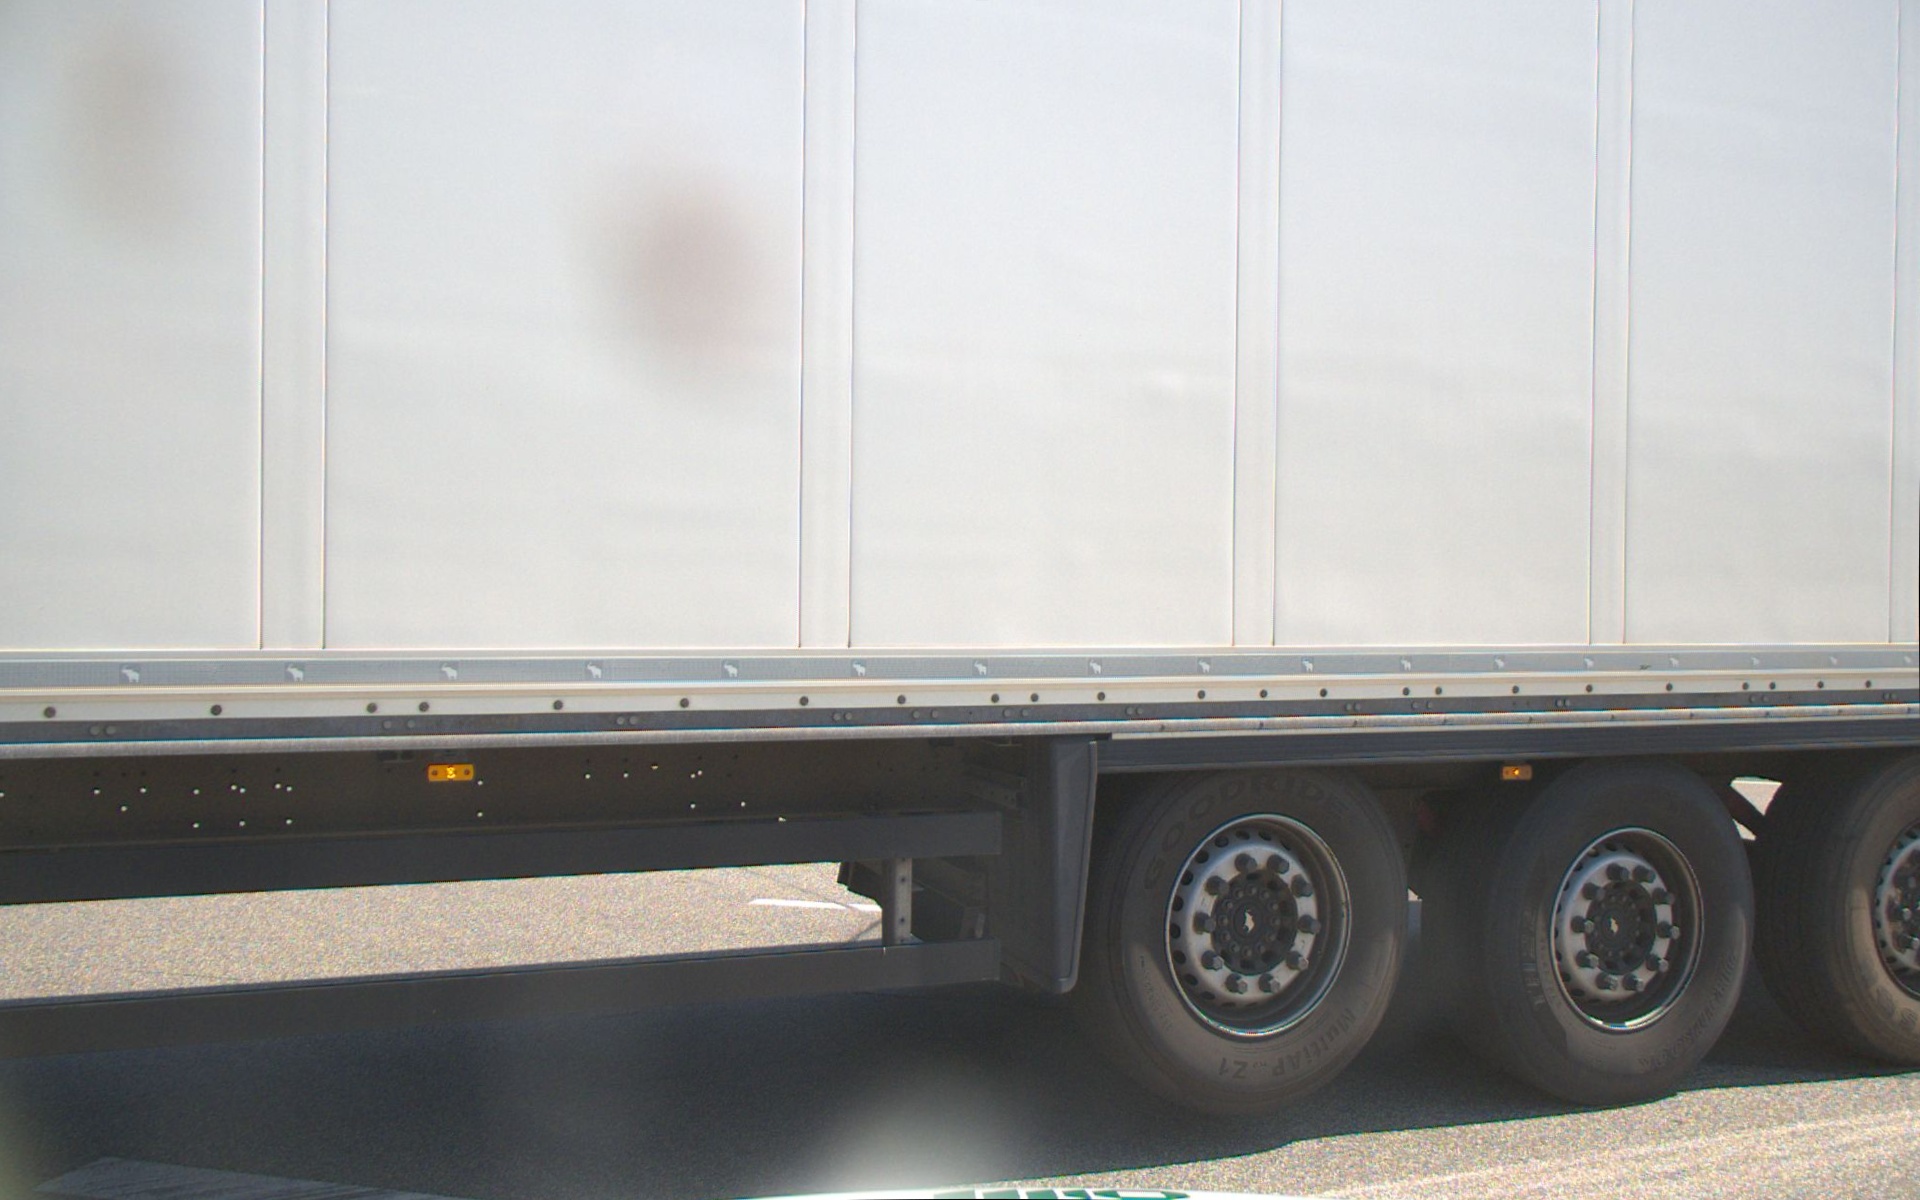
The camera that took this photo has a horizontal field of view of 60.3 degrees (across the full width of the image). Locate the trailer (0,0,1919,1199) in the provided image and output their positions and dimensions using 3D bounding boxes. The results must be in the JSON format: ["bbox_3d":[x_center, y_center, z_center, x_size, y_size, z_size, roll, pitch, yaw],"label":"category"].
[{"bbox_3d":[-0.629,-0.741,5.203,13.728,4.238,2.880,0,1,-20],"label":"trailer"}]
